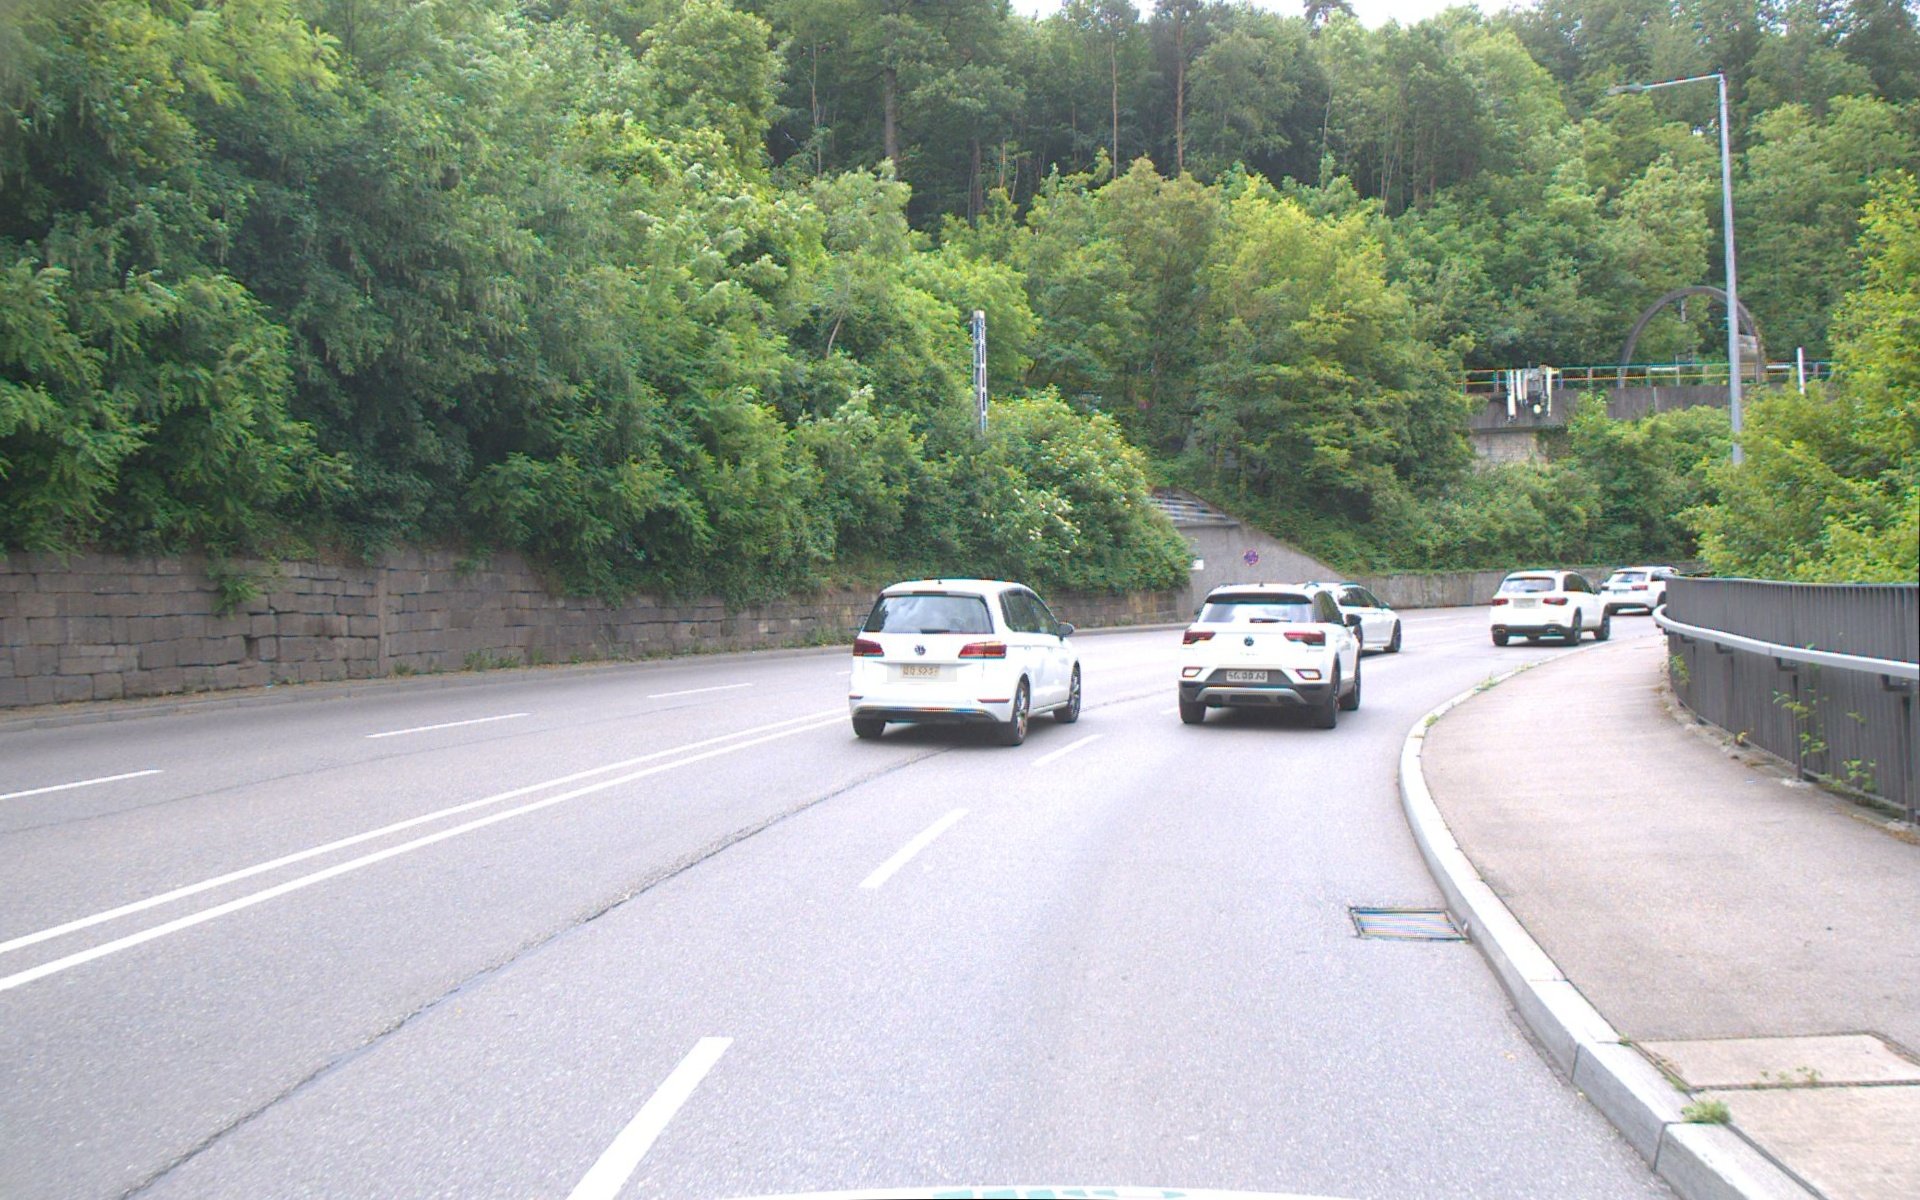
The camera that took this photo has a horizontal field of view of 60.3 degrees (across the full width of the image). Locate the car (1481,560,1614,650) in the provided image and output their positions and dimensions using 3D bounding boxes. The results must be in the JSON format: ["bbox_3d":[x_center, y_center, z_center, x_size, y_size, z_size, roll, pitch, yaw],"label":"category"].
[{"bbox_3d":[13.528,0.152,37.938,1.958,1.875,4.138,2,-1,33],"label":"car"}]

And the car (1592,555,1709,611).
[{"bbox_3d":[22.037,-0.520,52.710,4.270,1.545,1.721,3,-1,-41],"label":"car"}]

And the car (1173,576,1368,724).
[{"bbox_3d":[3.788,0.547,19.683,1.775,1.566,4.010,0,-1,18],"label":"car"}]

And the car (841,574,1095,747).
[{"bbox_3d":[0.229,0.576,17.619,1.683,1.581,4.278,1,0,14],"label":"car"}]

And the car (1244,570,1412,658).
[{"bbox_3d":[7.600,0.252,33.808,1.957,1.584,4.671,3,2,30],"label":"car"}]
